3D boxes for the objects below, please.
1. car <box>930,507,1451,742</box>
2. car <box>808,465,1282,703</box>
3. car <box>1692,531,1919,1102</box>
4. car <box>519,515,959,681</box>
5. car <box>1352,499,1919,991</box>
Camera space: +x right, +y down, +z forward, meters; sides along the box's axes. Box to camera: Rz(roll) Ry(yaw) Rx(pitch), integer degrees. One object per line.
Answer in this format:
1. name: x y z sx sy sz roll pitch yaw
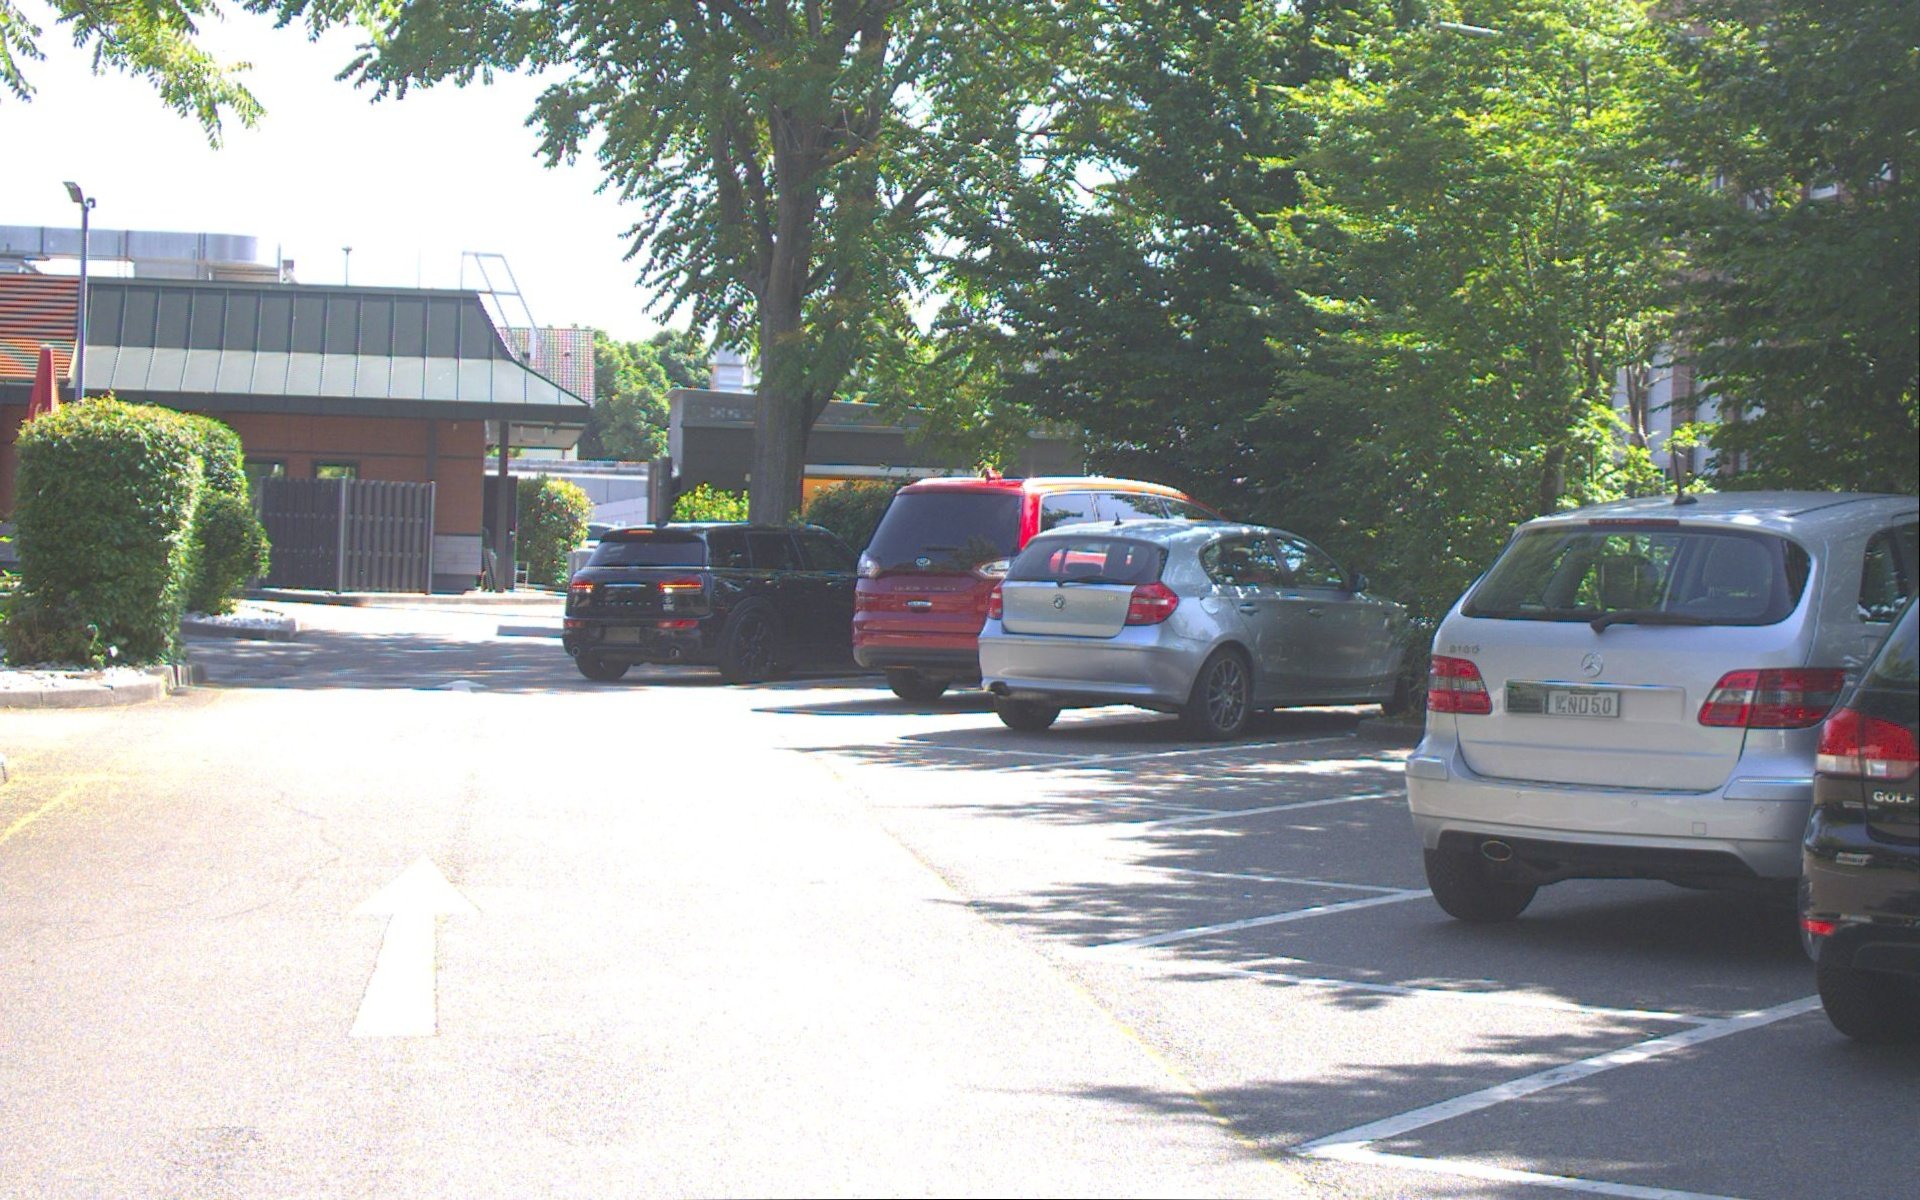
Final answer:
1. car: 1.678 0.115 23.752 1.772 1.470 3.992 1 2 35
2. car: 0.748 -0.149 27.162 1.772 1.728 3.992 0 1 36
3. car: 4.021 0.534 10.161 1.773 1.465 3.990 2 2 44
4. car: -1.927 -0.030 31.040 1.772 1.384 3.991 1 1 37
5. car: 3.416 0.432 13.121 1.773 1.566 3.990 2 2 43
